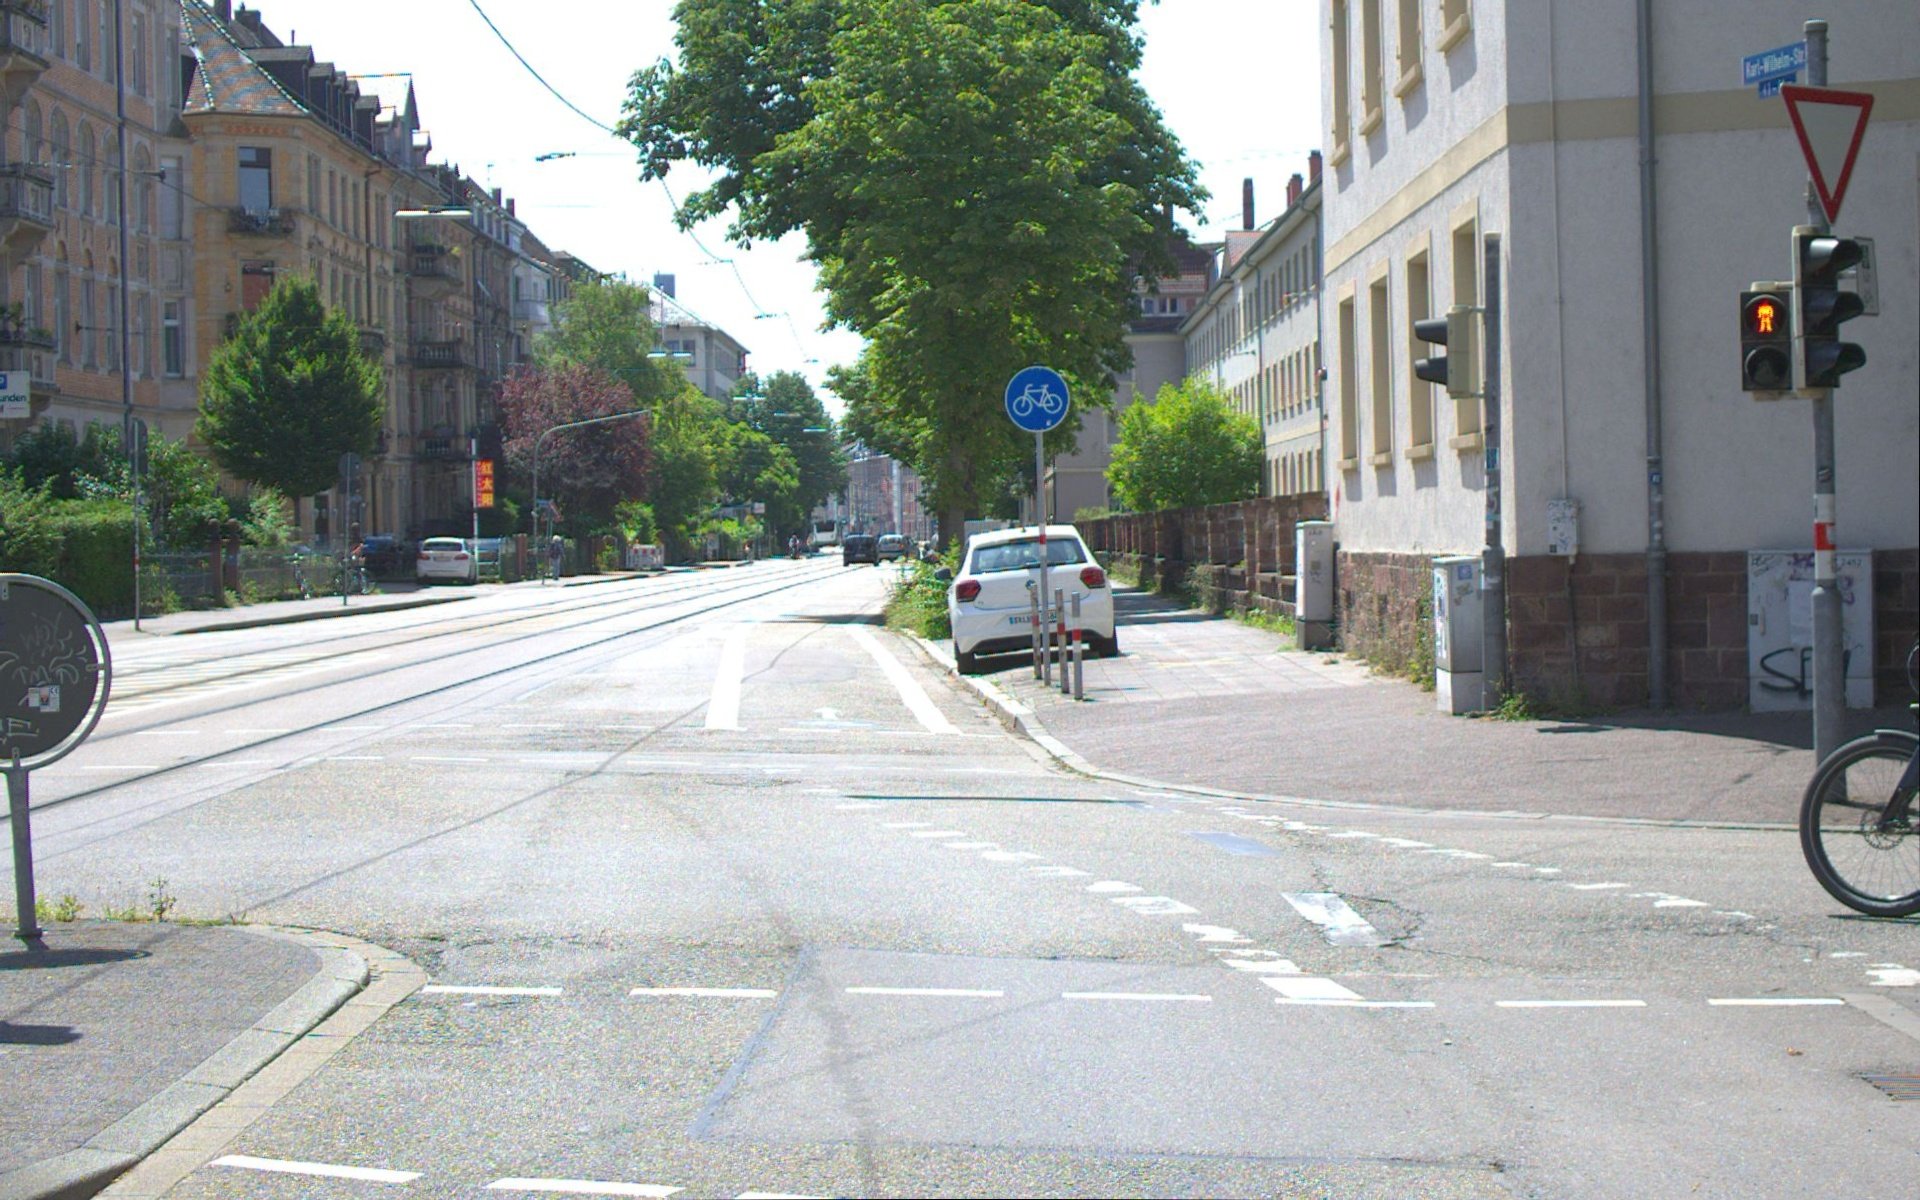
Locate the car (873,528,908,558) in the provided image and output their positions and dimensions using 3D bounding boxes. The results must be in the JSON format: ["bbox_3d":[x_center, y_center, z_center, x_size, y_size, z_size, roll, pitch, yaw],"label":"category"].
[{"bbox_3d":[-3.760,-3.087,185.814,1.747,1.467,3.938,-4,1,-1],"label":"car"}]

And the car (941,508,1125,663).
[{"bbox_3d":[0.739,-0.171,37.197,1.747,1.467,3.938,-4,1,-1],"label":"car"}]

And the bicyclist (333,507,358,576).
[{"bbox_3d":[-15.694,-1.483,87.828,0.542,1.757,0.498,0,1,-1],"label":"bicyclist"}]

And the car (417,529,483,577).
[{"bbox_3d":[-17.131,-1.572,115.613,1.684,1.467,3.939,-4,1,-3],"label":"car"}]

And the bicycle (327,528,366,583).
[{"bbox_3d":[-15.691,-1.140,87.929,0.577,1.383,2.501,0,1,-1],"label":"bicycle"}]

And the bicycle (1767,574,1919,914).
[{"bbox_3d":[4.052,0.521,12.548,2.083,1.232,0.580,0,1,24],"label":"bicycle"}]

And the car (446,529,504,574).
[{"bbox_3d":[-17.475,-1.739,123.911,1.628,1.467,3.564,-4,1,-3],"label":"car"}]

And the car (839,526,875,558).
[{"bbox_3d":[-4.862,-2.734,162.703,1.525,1.439,3.365,-2,1,0],"label":"car"}]

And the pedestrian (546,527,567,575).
[{"bbox_3d":[-14.615,-1.770,124.549,0.678,1.721,0.677,0,1,-1],"label":"pedestrian"}]
